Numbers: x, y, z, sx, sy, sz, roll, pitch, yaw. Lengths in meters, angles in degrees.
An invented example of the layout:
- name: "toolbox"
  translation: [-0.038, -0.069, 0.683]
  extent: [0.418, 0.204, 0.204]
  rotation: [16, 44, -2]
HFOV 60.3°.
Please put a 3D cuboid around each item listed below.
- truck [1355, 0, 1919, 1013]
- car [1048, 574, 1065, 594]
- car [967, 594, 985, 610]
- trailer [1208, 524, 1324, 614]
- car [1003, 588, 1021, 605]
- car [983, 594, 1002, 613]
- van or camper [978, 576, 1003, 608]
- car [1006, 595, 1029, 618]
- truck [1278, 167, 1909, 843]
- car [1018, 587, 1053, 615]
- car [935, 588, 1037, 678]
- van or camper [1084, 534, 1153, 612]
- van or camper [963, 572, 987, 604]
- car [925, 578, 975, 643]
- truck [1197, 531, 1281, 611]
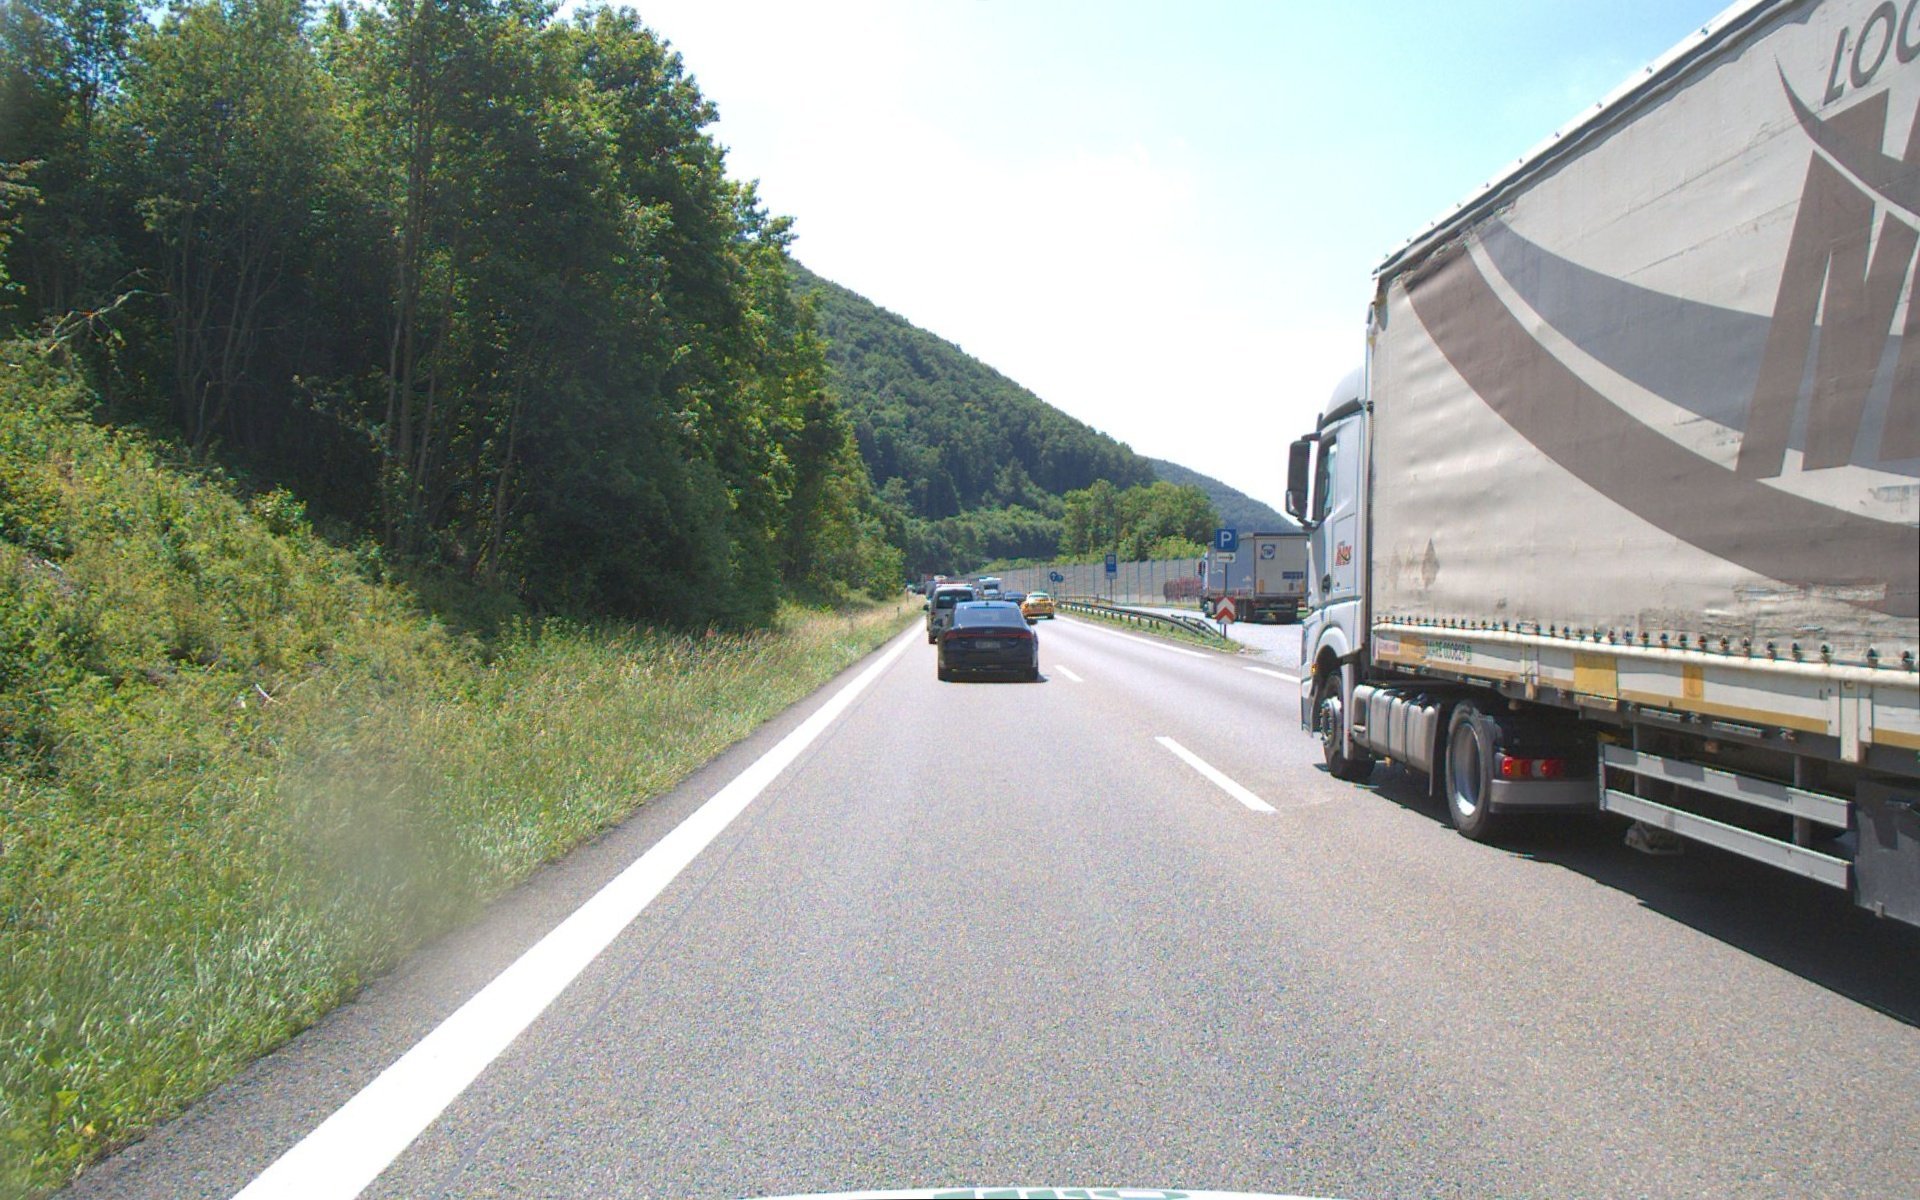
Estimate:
- name: "truck"
  translation: [4.643, -0.625, 6.277]
  extent: [2.671, 4.139, 13.737]
  rotation: [1, -1, -1]
- name: "car"
  translation: [9.770, -1.616, 167.991]
  extent: [1.544, 2.049, 3.428]
  rotation: [0, 0, 0]
- name: "car"
  translation: [1.944, 0.193, 200.087]
  extent: [1.953, 1.825, 3.999]
  rotation: [2, -1, -1]
- name: "trailer"
  translation: [14.451, -1.397, 79.199]
  extent: [3.342, 3.968, 11.149]
  rotation: [1, 0, -1]
- name: "car"
  translation: [6.465, -0.469, 206.395]
  extent: [1.953, 2.049, 3.999]
  rotation: [1, 0, -2]
- name: "car"
  translation: [2.794, 0.324, 141.512]
  extent: [1.499, 1.552, 3.596]
  rotation: [2, -1, 0]
- name: "van or camper"
  translation: [3.155, -0.796, 172.781]
  extent: [2.380, 3.210, 5.203]
  rotation: [2, -1, 0]
- name: "car"
  translation: [4.093, 0.490, 118.577]
  extent: [1.499, 1.552, 3.596]
  rotation: [2, -1, 0]
- name: "truck"
  translation: [4.503, -0.565, 13.154]
  extent: [2.664, 4.139, 5.752]
  rotation: [1, -1, -1]
- name: "car"
  translation: [4.296, 0.044, 94.790]
  extent: [1.840, 1.525, 4.000]
  rotation: [1, 0, 0]
- name: "car"
  translation: [0.458, 0.570, 30.848]
  extent: [1.775, 1.541, 3.514]
  rotation: [-1, 1, 0]
- name: "van or camper"
  translation: [8.427, -1.356, 88.526]
  extent: [2.739, 3.908, 6.164]
  rotation: [2, -1, -2]
- name: "van or camper"
  translation: [1.972, -1.538, 218.562]
  extent: [2.739, 3.975, 6.164]
  rotation: [2, -1, -2]
- name: "car"
  translation: [-0.328, 0.335, 54.339]
  extent: [1.490, 2.002, 3.513]
  rotation: [3, 0, -1]
- name: "truck"
  translation: [14.389, -1.453, 85.771]
  extent: [3.342, 3.968, 5.387]
  rotation: [1, 0, -1]
